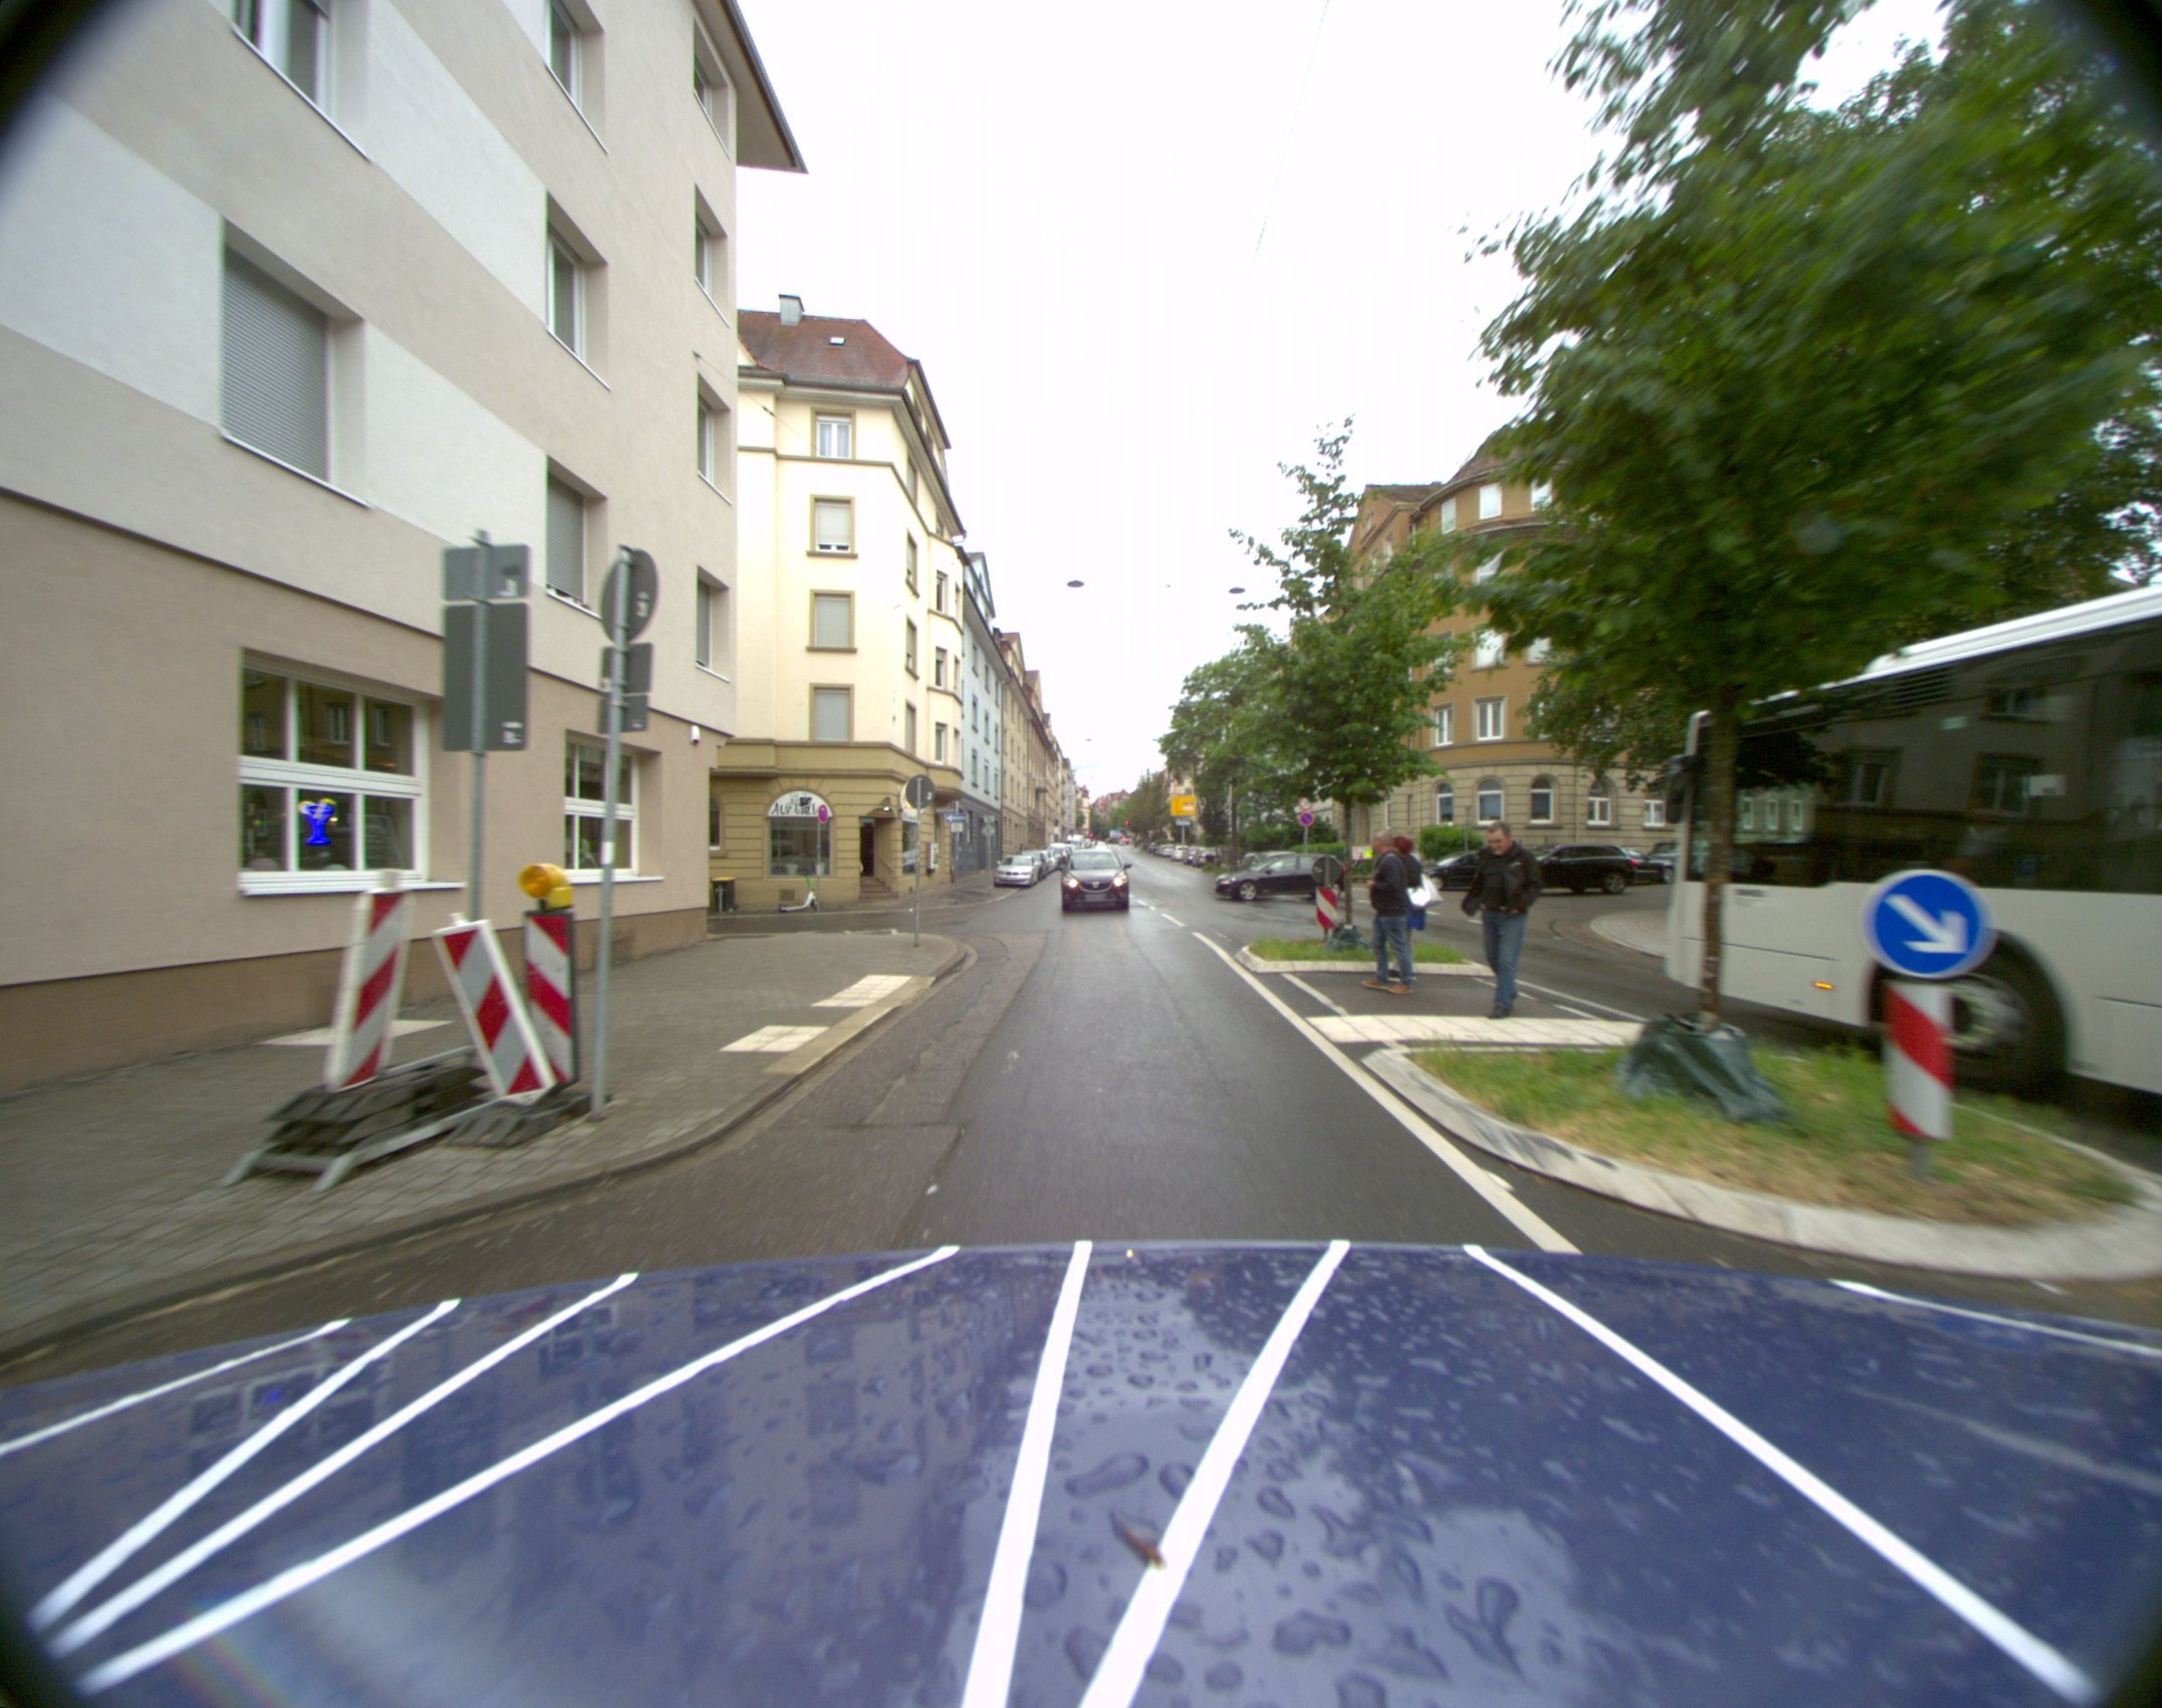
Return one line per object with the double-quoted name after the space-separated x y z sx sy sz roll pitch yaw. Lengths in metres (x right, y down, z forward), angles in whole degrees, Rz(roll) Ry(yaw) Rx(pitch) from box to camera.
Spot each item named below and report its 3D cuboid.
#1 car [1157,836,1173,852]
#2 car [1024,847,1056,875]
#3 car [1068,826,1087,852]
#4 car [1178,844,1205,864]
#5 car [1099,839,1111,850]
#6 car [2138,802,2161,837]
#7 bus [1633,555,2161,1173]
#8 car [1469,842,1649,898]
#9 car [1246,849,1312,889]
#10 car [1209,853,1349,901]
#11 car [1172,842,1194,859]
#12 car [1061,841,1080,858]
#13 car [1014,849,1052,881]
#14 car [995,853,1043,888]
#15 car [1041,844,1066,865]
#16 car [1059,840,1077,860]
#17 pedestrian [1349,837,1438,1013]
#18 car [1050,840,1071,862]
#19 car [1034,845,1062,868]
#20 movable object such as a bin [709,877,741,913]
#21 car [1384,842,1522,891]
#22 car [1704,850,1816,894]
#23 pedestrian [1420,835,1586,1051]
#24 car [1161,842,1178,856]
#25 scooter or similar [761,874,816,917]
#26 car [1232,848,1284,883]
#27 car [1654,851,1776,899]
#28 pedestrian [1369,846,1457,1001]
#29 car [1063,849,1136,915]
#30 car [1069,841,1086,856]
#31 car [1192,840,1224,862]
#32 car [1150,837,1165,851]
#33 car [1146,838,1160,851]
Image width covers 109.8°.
10.310 -1.234 93.491 1.640 1.871 3.658 -1 1 0 "car"
-2.516 0.407 47.405 1.776 1.583 3.550 -1 1 0 "car"
-0.492 -2.167 111.085 2.554 3.612 9.049 -1 1 0 "car"
9.085 -0.052 62.562 1.672 1.507 3.393 -3 1 1 "car"
3.866 -1.535 123.928 1.796 1.768 3.903 -1 1 0 "car"
67.052 -2.126 46.492 4.005 2.067 1.996 -1 1 -25 "car"
6.986 0.146 1.690 2.812 3.228 11.960 4 1 1 "bus"
15.056 0.490 24.088 4.600 1.637 1.811 -1 0 -2 "car"
8.546 0.616 33.120 1.813 1.507 3.676 -3 1 0 "car"
6.262 0.699 24.324 3.998 1.412 1.811 -1 0 -2 "car"
9.707 -0.317 72.572 1.672 1.507 3.393 -3 1 1 "car"
-1.153 -0.554 87.063 1.998 1.871 3.999 -1 1 0 "car"
-2.555 0.544 41.259 1.817 1.583 3.894 -1 1 0 "car"
-2.844 0.722 35.563 1.856 1.456 4.204 -1 1 0 "car"
-2.103 0.035 58.256 1.733 1.486 3.550 -1 1 0 "car"
-1.266 -0.425 75.390 1.719 1.871 3.907 -1 1 0 "car"
3.230 0.705 7.906 0.611 1.738 0.698 1 1 2 "pedestrian"
-1.826 -0.289 69.066 1.733 1.887 3.550 -1 1 0 "car"
-2.218 0.150 51.903 1.733 1.486 3.550 -1 1 0 "car"
-11.276 1.299 24.072 0.677 1.070 0.703 -1 3 -6 "movable object such as a bin"
13.273 0.428 27.331 3.995 1.674 2.001 -1 1 7 "car"
28.538 0.723 31.963 4.004 1.674 1.996 -1 1 -23 "car"
3.745 0.720 6.755 1.066 1.738 0.852 1 1 -34 "pedestrian"
10.320 -0.588 88.582 1.558 1.507 3.393 -3 1 1 "car"
-9.042 1.263 23.508 1.482 1.144 0.486 -4 7 -36 "scooter or similar"
8.646 0.520 37.404 1.672 1.507 3.393 -3 1 0 "car"
24.322 0.752 29.151 4.004 1.674 1.996 -1 1 -23 "car"
3.747 0.747 8.636 0.790 1.656 0.699 1 1 16 "pedestrian"
0.440 0.705 21.858 1.856 1.646 4.203 -1 1 -2 "car"
-0.397 -0.689 96.177 1.998 1.871 3.999 -1 1 0 "car"
9.431 -0.222 56.669 1.672 1.507 3.696 -3 1 1 "car"
10.353 -1.333 102.743 1.640 1.871 3.658 -1 1 0 "car"
10.779 -1.473 113.993 1.640 1.871 3.658 -1 1 0 "car"
